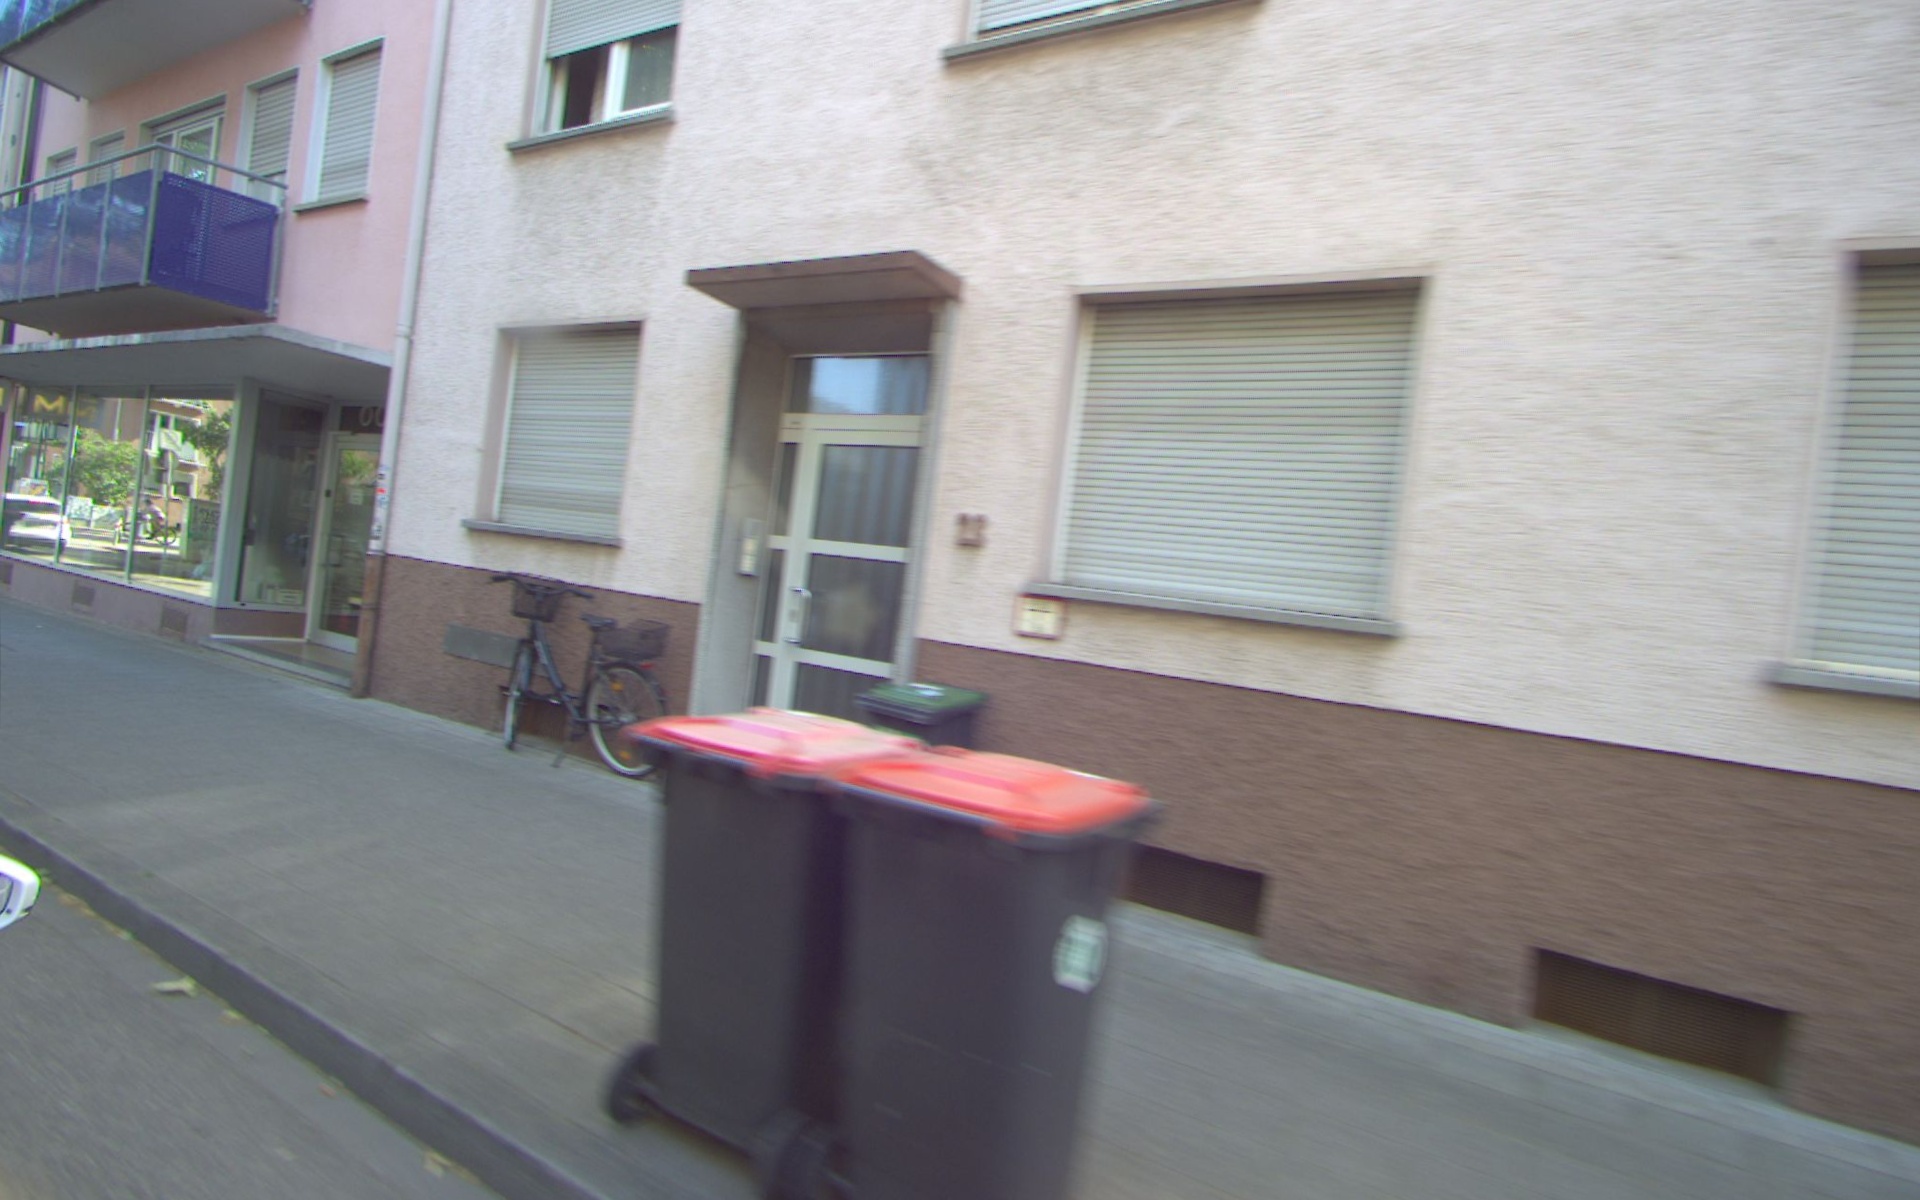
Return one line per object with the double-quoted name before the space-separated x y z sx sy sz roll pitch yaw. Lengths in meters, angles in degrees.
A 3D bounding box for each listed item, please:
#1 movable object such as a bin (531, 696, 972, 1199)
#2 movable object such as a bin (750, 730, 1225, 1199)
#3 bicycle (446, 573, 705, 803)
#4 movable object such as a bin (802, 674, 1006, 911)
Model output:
"movable object such as a bin" -0.514 0.845 2.618 0.682 1.100 0.768 6 0 33
"movable object such as a bin" 0.083 0.901 2.253 0.692 1.094 0.733 6 0 33
"bicycle" -2.474 0.490 6.350 1.889 1.149 0.453 6 3 34
"movable object such as a bin" -0.264 0.880 4.850 0.671 0.963 0.598 6 0 33
